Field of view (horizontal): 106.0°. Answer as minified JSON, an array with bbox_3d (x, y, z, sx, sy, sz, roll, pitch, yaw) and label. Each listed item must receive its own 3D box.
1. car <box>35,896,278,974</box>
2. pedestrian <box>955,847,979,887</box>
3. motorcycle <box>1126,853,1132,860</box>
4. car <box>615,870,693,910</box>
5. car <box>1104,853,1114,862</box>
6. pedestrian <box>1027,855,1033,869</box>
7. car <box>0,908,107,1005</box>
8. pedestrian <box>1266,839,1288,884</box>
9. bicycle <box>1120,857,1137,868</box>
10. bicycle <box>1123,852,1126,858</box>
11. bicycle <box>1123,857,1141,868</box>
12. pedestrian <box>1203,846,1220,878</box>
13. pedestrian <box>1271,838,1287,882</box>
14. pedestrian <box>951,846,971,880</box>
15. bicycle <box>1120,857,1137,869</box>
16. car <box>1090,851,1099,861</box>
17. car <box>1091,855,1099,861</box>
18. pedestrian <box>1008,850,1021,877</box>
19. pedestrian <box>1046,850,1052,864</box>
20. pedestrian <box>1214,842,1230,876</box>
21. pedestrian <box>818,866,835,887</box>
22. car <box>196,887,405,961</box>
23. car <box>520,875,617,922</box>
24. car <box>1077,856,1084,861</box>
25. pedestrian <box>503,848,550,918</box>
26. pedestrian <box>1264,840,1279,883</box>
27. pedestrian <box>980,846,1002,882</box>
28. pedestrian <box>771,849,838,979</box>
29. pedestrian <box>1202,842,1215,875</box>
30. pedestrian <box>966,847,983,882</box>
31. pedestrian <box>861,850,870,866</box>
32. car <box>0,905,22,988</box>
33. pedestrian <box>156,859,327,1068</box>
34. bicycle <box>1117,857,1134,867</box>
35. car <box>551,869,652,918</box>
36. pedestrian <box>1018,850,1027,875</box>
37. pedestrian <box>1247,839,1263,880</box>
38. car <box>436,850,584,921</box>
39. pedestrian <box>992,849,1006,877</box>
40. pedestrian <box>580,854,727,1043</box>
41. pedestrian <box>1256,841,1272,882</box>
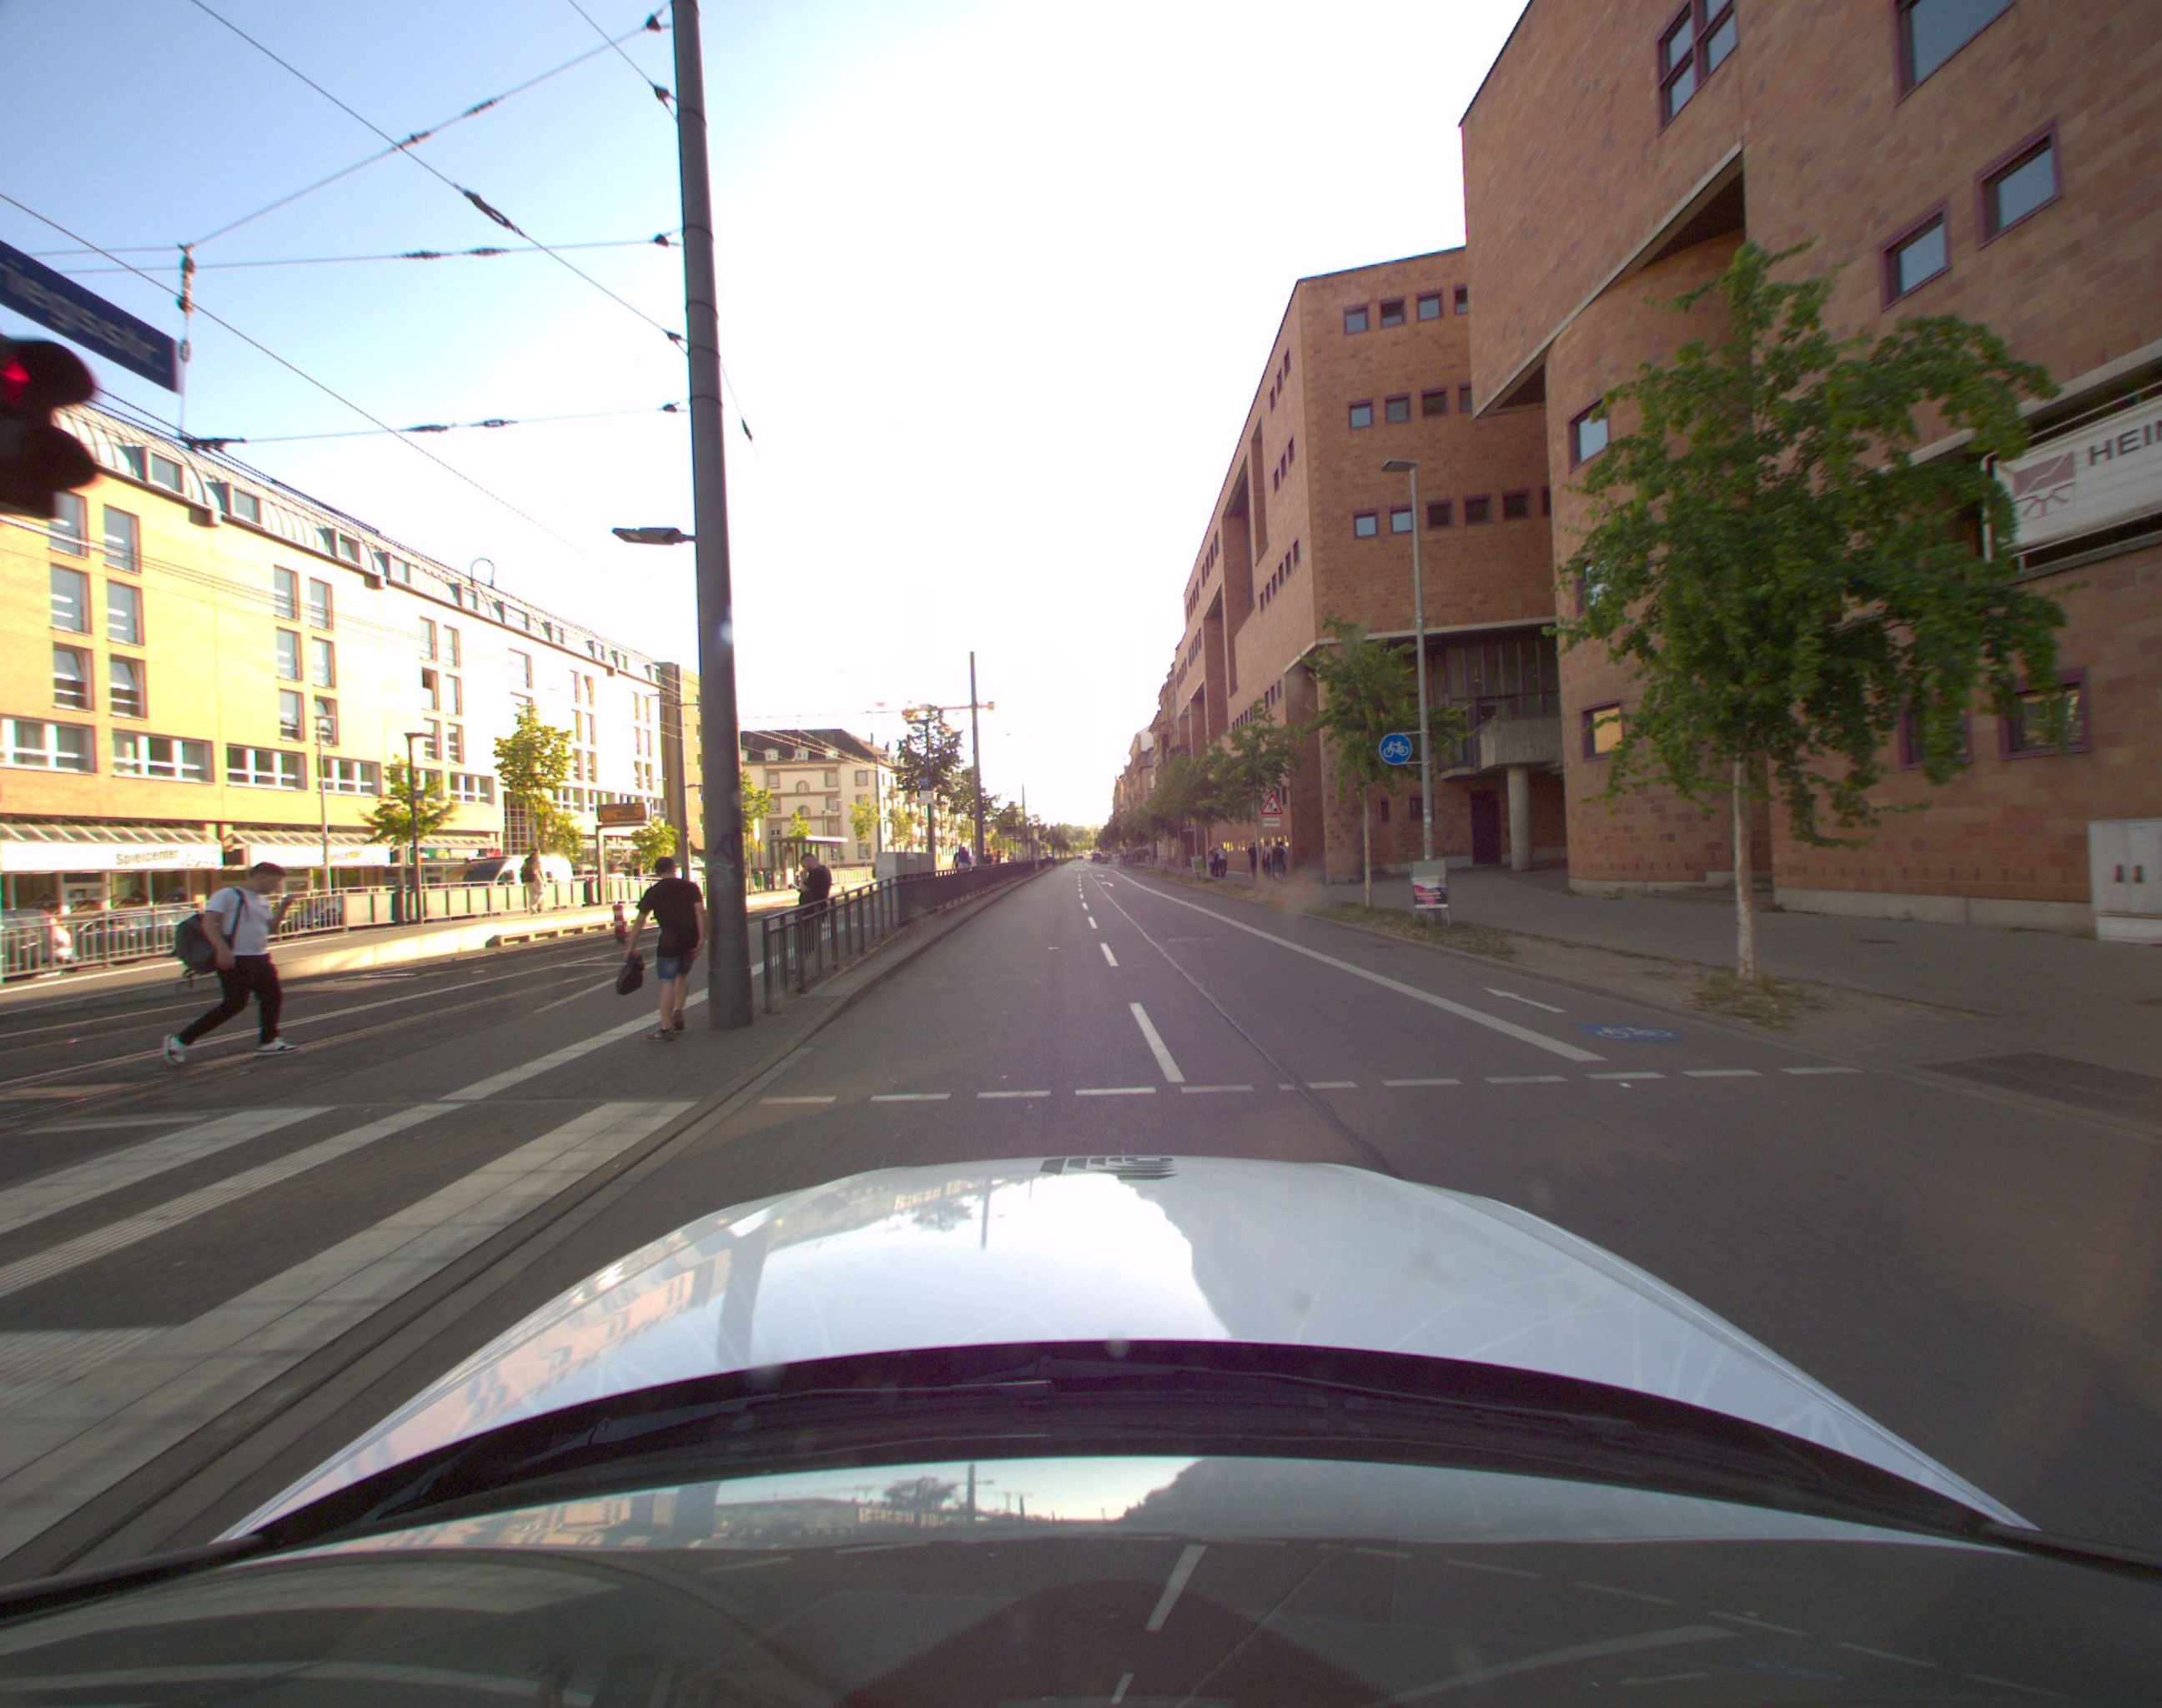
[{"bbox_3d":[-24.386,2.070,21.748,1.881,1.532,3.997,-3,1,-2],"label":"car"},{"bbox_3d":[-4.939,0.542,35.347,0.885,1.672,0.671,-3,0,-2],"label":"pedestrian"},{"bbox_3d":[9.215,0.502,155.684,0.792,1.308,2.852,-5,1,0],"label":"motorcycle"},{"bbox_3d":[-24.062,1.985,46.072,1.878,1.866,4.319,-3,1,3],"label":"car"},{"bbox_3d":[5.552,0.709,160.875,1.630,1.486,4.215,-5,1,3],"label":"car"},{"bbox_3d":[-4.274,0.685,67.758,0.406,1.190,0.428,-2,0,-13],"label":"pedestrian"},{"bbox_3d":[-18.321,1.770,12.566,1.753,1.447,3.997,-3,1,-2],"label":"car"},{"bbox_3d":[7.770,0.298,32.336,0.728,1.756,0.697,-3,0,11],"label":"pedestrian"},{"bbox_3d":[5.420,0.946,93.378,1.823,1.064,0.662,-5,1,-5],"label":"bicycle"},{"bbox_3d":[9.822,0.245,183.963,0.659,1.402,2.352,-3,1,0],"label":"bicycle"},{"bbox_3d":[5.742,0.950,91.996,1.823,1.064,0.662,-5,1,-5],"label":"bicycle"},{"bbox_3d":[6.551,0.402,40.884,0.517,1.605,0.701,-3,-1,-13],"label":"pedestrian"},{"bbox_3d":[8.026,0.243,33.047,0.533,1.756,0.697,-3,0,10],"label":"pedestrian"},{"bbox_3d":[-5.334,0.410,36.228,0.680,1.483,0.829,-2,0,1],"label":"pedestrian"},{"bbox_3d":[5.283,0.993,90.620,1.823,1.064,0.662,-5,1,-5],"label":"bicycle"},{"bbox_3d":[3.011,0.447,177.069,1.878,1.937,4.475,-1,1,2],"label":"car"},{"bbox_3d":[3.294,0.928,190.748,1.843,1.457,4.158,-3,1,2],"label":"car"},{"bbox_3d":[-4.023,0.581,49.165,0.671,1.562,0.906,-3,0,-1],"label":"pedestrian"},{"bbox_3d":[-4.035,0.377,101.192,0.652,1.643,0.867,-2,-1,0],"label":"pedestrian"},{"bbox_3d":[7.197,0.264,41.576,0.570,1.713,0.640,-3,-1,-5],"label":"pedestrian"},{"bbox_3d":[-15.090,1.323,48.256,0.671,1.189,0.906,-3,0,-1],"label":"pedestrian"},{"bbox_3d":[-21.199,1.828,22.398,1.881,1.532,3.997,-3,1,-2],"label":"car"},{"bbox_3d":[-24.150,2.044,38.605,1.881,1.866,4.313,-3,1,-2],"label":"car"},{"bbox_3d":[-0.146,1.399,248.686,1.788,1.464,4.008,-3,0,7],"label":"car"},{"bbox_3d":[-13.781,0.710,20.250,0.674,1.683,0.577,-3,0,4],"label":"pedestrian"},{"bbox_3d":[8.012,0.309,34.283,0.533,1.756,0.697,-3,0,10],"label":"pedestrian"},{"bbox_3d":[-4.314,0.461,38.998,0.885,1.672,1.095,-3,0,-2],"label":"pedestrian"},{"bbox_3d":[-3.396,0.718,10.029,0.485,1.538,0.553,-3,0,14],"label":"pedestrian"},{"bbox_3d":[6.963,0.243,44.511,0.537,1.756,0.420,-3,0,-14],"label":"pedestrian"},{"bbox_3d":[-5.110,0.495,39.192,0.655,1.672,0.671,-3,0,-2],"label":"pedestrian"},{"bbox_3d":[-28.144,0.484,106.378,0.798,2.013,0.625,-3,1,0],"label":"pedestrian"},{"bbox_3d":[-21.335,1.829,13.655,1.881,1.532,3.997,-3,1,-2],"label":"car"},{"bbox_3d":[-7.403,0.918,7.221,0.638,1.717,0.777,-3,0,-2],"label":"pedestrian"},{"bbox_3d":[5.203,0.936,94.849,1.823,1.064,0.662,-5,1,-5],"label":"bicycle"},{"bbox_3d":[-21.617,1.743,36.947,1.880,1.866,4.315,-3,1,0],"label":"car"},{"bbox_3d":[-3.947,0.552,54.861,0.503,1.678,0.651,-3,0,-1],"label":"pedestrian"},{"bbox_3d":[7.552,0.247,35.375,0.535,1.756,0.464,-3,0,-2],"label":"pedestrian"},{"bbox_3d":[-21.228,1.082,30.586,2.039,2.358,4.918,-3,0,-1],"label":"car"},{"bbox_3d":[-5.282,0.587,52.477,0.717,1.732,0.651,-3,0,-1],"label":"pedestrian"},{"bbox_3d":[-3.735,0.786,7.177,0.709,1.538,0.854,-3,0,8],"label":"pedestrian"},{"bbox_3d":[8.088,0.328,36.079,0.535,1.756,0.422,-3,0,-1],"label":"pedestrian"}]
